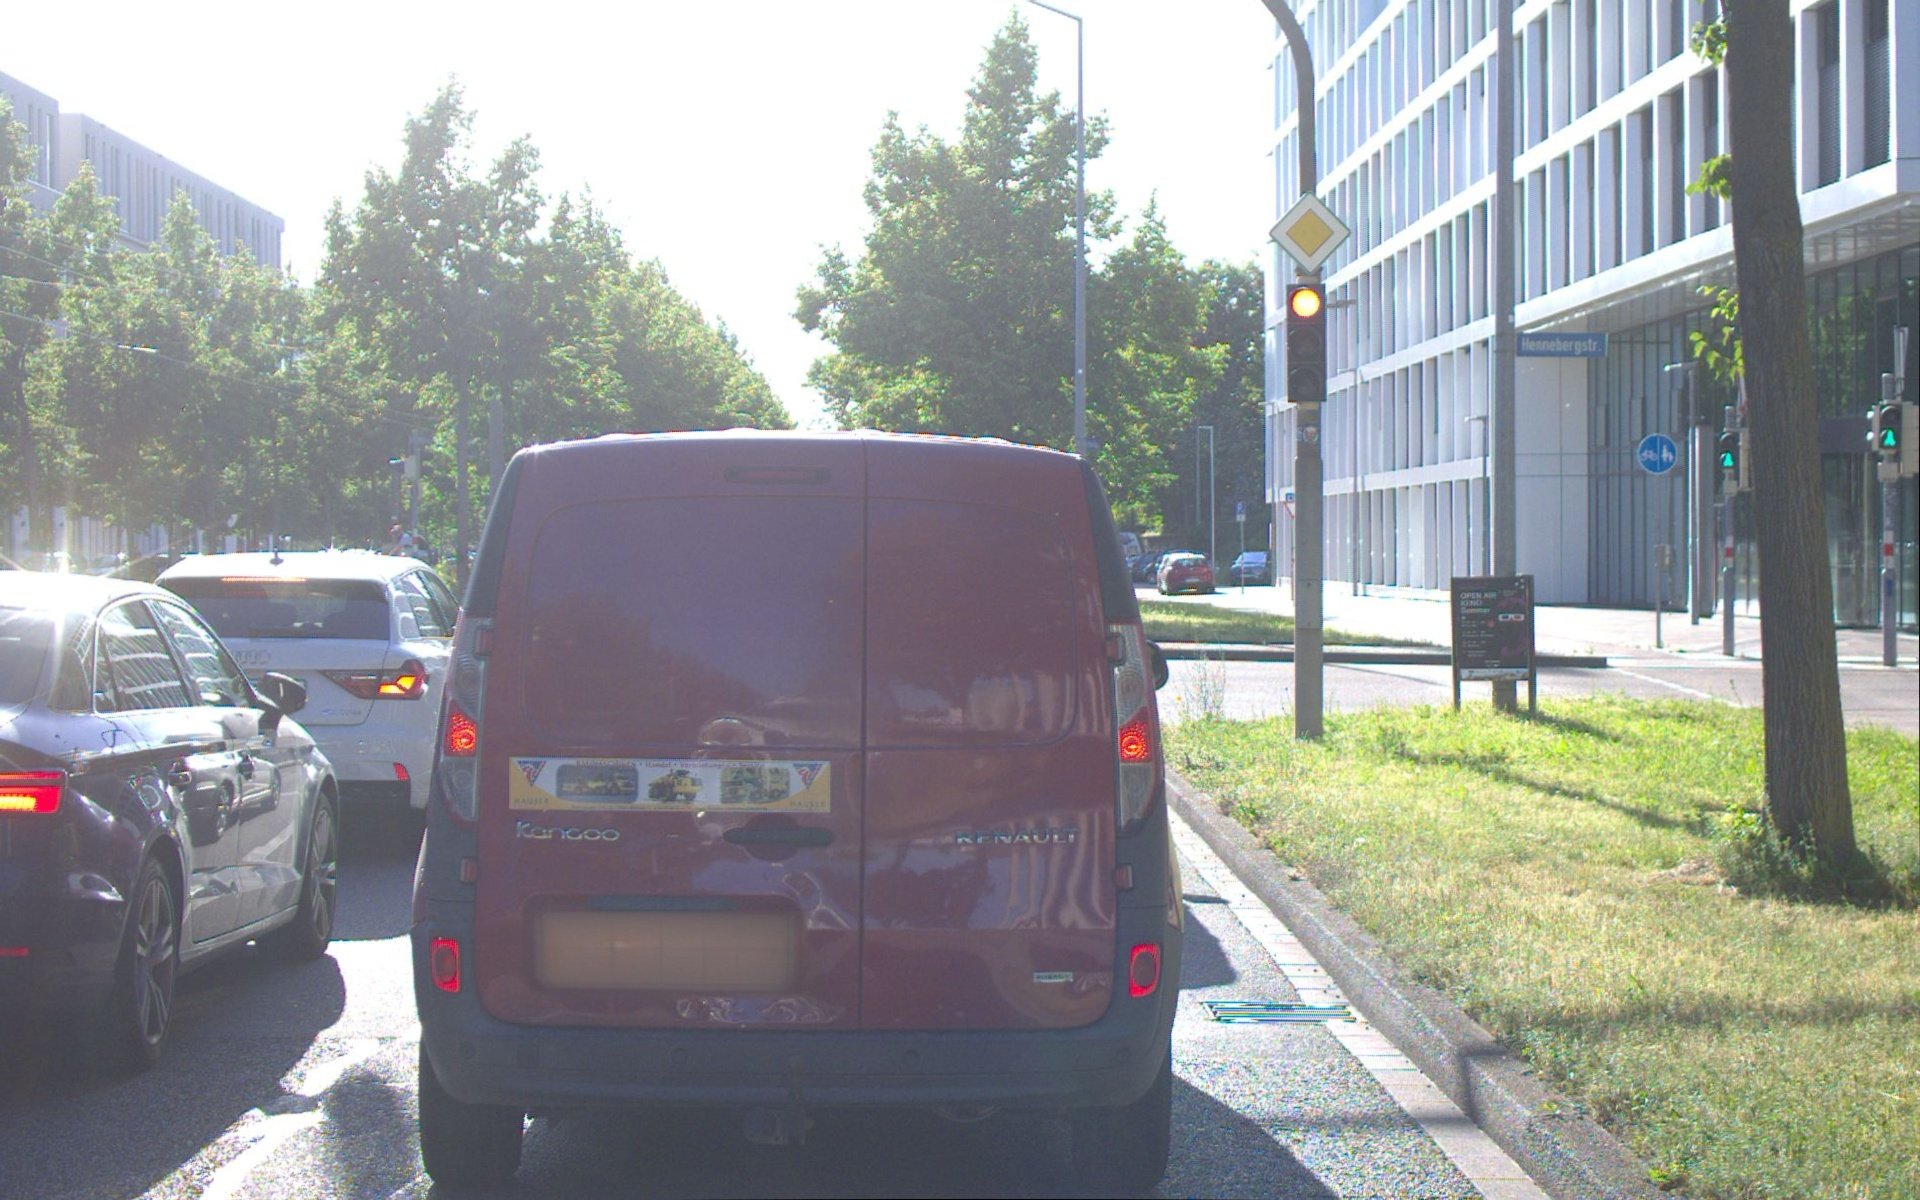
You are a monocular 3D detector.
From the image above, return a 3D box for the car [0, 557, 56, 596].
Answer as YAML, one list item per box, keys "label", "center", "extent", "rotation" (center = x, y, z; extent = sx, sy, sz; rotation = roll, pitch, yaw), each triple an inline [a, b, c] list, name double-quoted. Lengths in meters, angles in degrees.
- label: "car"
  center: [-37.036, -0.944, 135.728]
  extent: [1.776, 1.523, 3.806]
  rotation: [0, 1, -1]

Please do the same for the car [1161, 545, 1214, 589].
- label: "car"
  center: [8.448, -1.246, 127.873]
  extent: [1.758, 1.606, 3.903]
  rotation: [0, 1, 1]

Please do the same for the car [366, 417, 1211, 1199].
- label: "car"
  center: [-0.363, 0.463, 9.420]
  extent: [1.808, 1.788, 4.113]
  rotation: [0, 1, 0]

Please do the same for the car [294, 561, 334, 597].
- label: "car"
  center: [-37.413, -1.202, 199.154]
  extent: [1.728, 2.007, 4.001]
  rotation: [0, 1, -3]

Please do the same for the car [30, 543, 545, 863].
- label: "car"
  center: [-3.269, 0.431, 17.511]
  extent: [1.808, 1.430, 4.113]
  rotation: [0, 1, 0]

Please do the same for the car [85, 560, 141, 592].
- label: "car"
  center: [-36.774, -1.059, 149.260]
  extent: [1.580, 1.337, 3.712]
  rotation: [0, 1, -1]

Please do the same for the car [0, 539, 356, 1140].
- label: "car"
  center: [-3.163, 0.571, 10.782]
  extent: [1.808, 1.522, 4.113]
  rotation: [0, 1, 0]
